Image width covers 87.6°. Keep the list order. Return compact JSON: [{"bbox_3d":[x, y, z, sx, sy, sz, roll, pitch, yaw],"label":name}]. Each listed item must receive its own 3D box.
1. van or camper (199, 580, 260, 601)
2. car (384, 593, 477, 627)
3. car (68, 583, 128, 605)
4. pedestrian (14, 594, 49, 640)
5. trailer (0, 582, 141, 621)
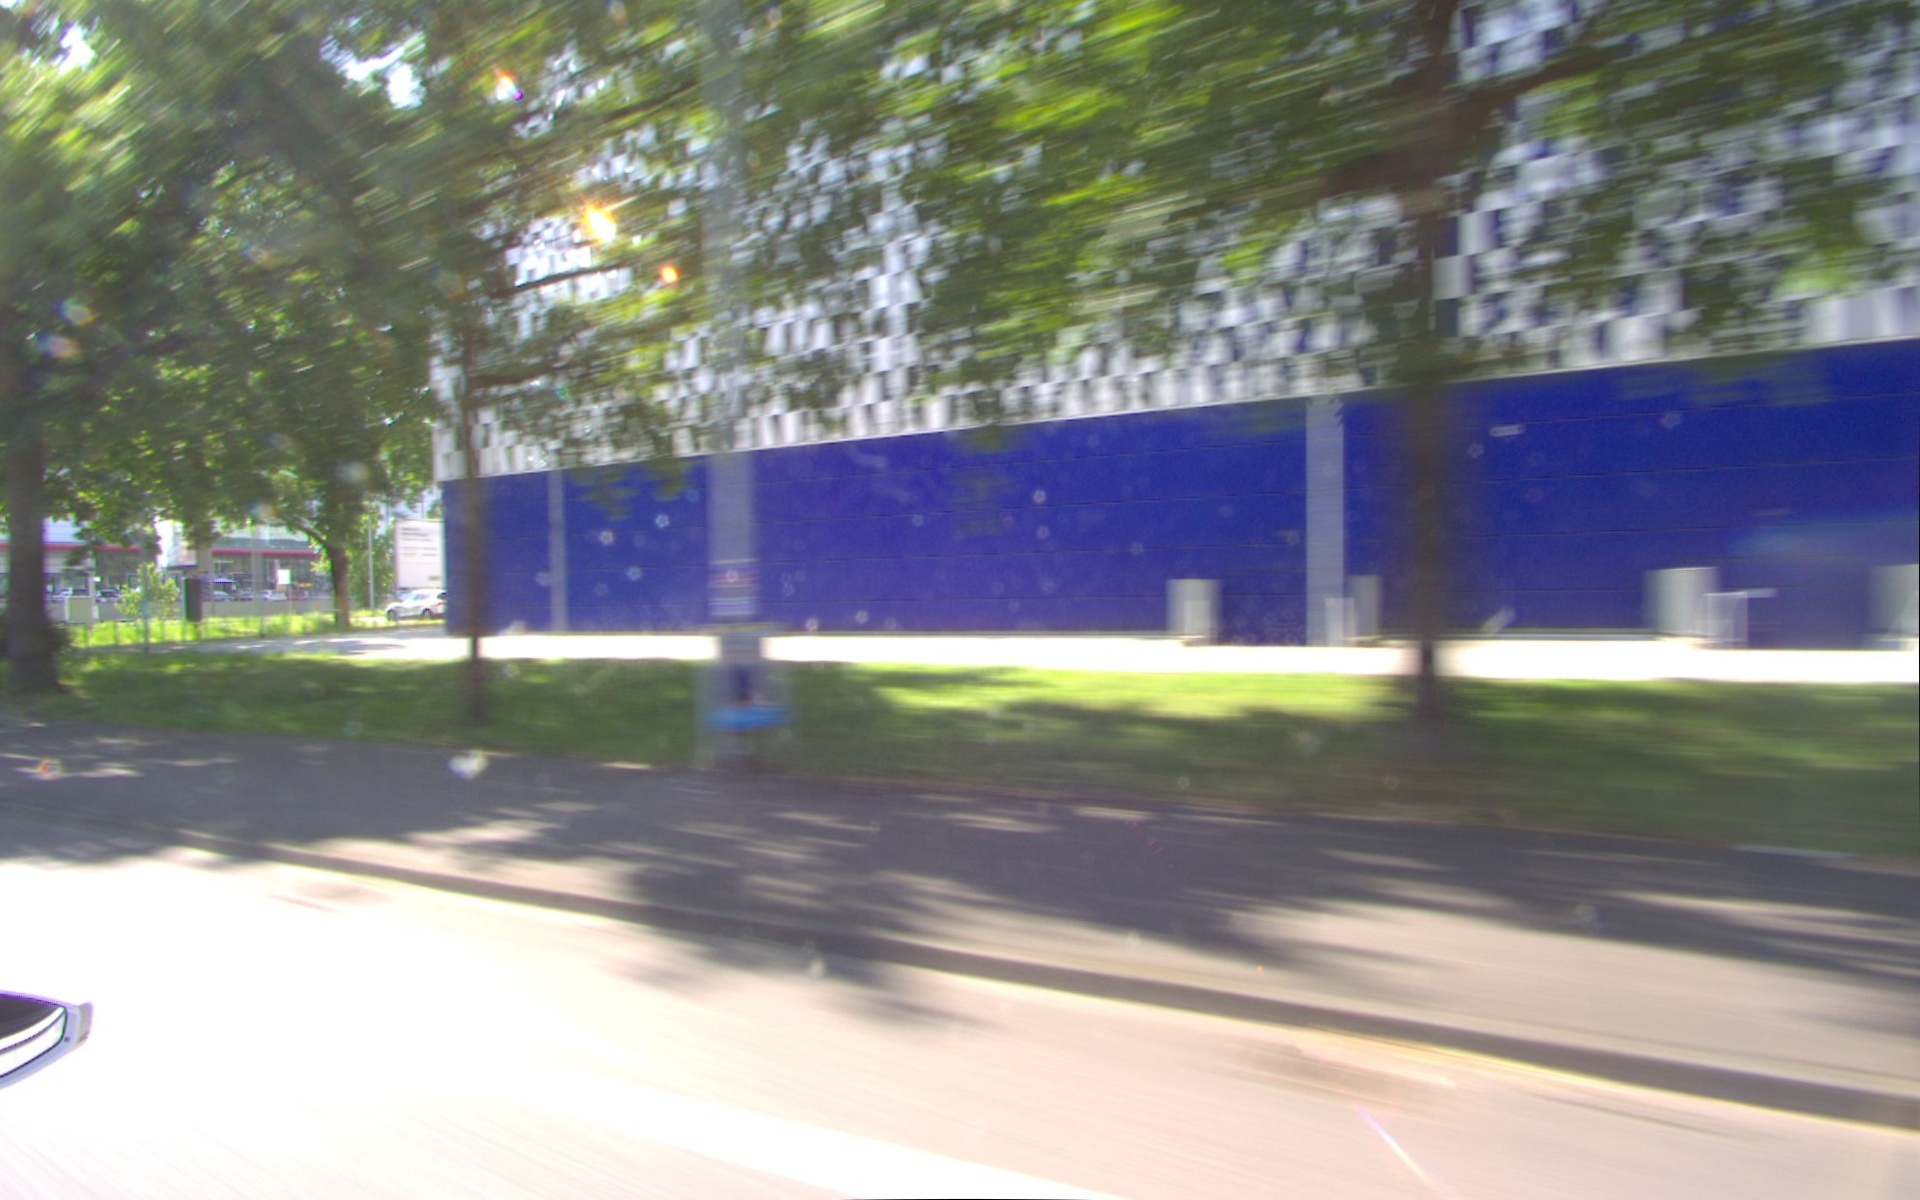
[{"bbox_3d":[-78.449,-1.042,107.660,1.967,2.039,4.986,1,-1,25],"label":"van or camper"},{"bbox_3d":[-24.540,0.450,46.391,3.861,1.509,1.786,-1,1,23],"label":"car"},{"bbox_3d":[-84.432,-0.562,98.106,1.967,2.039,3.989,1,-1,24],"label":"car"},{"bbox_3d":[-36.495,0.667,39.364,0.790,1.794,0.628,-1,1,15],"label":"pedestrian"},{"bbox_3d":[-64.060,0.104,69.089,1.969,2.501,11.865,1,-1,28],"label":"trailer"}]
